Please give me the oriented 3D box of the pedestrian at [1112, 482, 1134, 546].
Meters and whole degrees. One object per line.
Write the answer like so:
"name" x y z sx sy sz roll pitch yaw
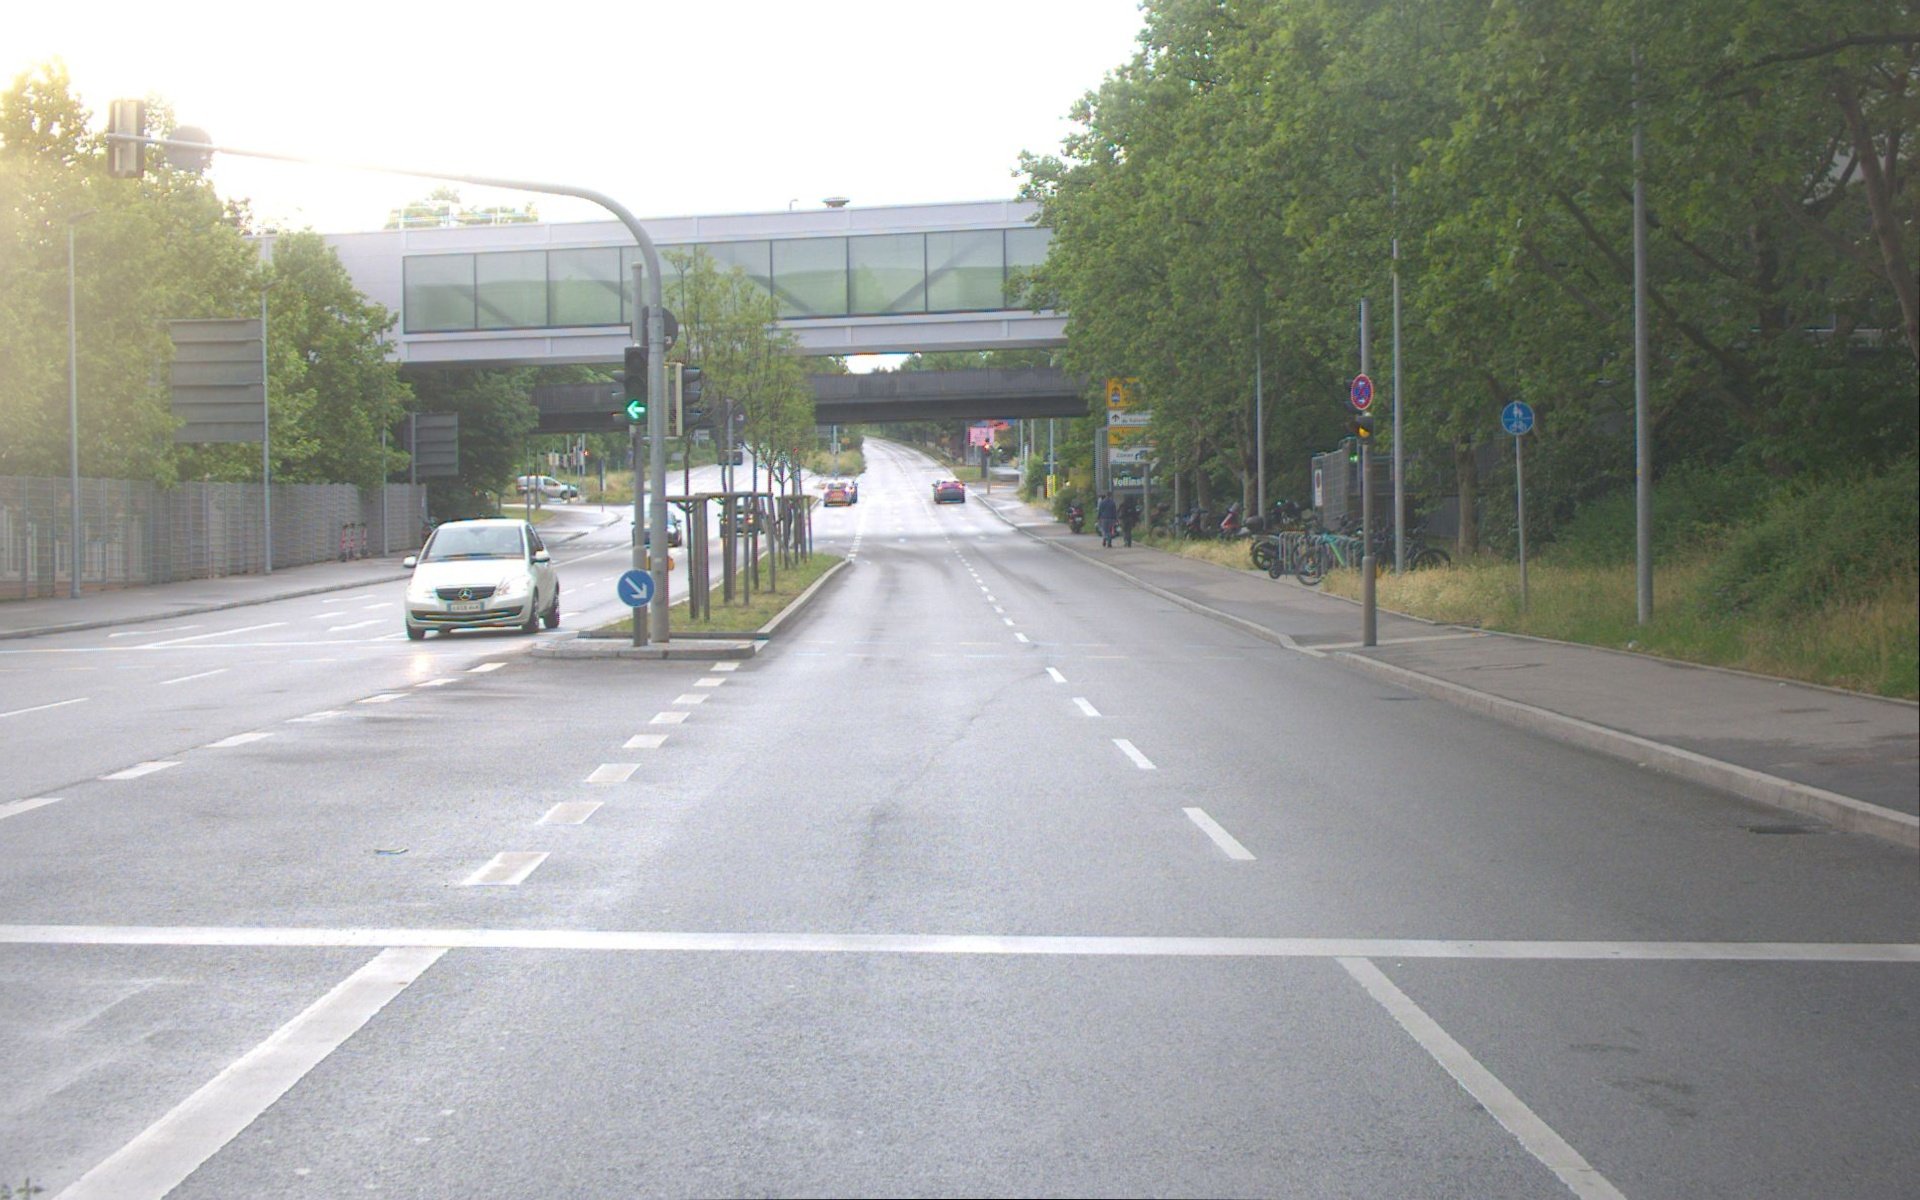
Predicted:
"pedestrian" 5.117 -2.694 107.878 0.622 2.007 0.605 -2 1 0

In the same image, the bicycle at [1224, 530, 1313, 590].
"bicycle" 7.065 -0.914 78.759 1.960 1.324 0.576 2 0 1

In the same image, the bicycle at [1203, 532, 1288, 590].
"bicycle" 6.866 -0.938 82.772 1.963 1.324 0.654 2 0 1

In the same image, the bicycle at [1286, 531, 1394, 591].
"bicycle" 7.281 -0.740 65.889 1.990 1.091 0.541 2 0 1

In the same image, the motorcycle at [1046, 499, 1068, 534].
"motorcycle" 4.301 -3.732 153.046 0.790 1.528 2.377 -2 1 -2

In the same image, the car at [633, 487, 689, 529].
"car" -11.887 -3.655 136.805 1.877 1.619 3.779 -1 1 0

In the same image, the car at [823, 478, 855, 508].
"car" -7.787 -6.888 221.581 1.884 1.756 3.969 1 0 0

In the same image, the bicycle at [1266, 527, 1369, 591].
"bicycle" 7.204 -0.821 69.241 1.990 1.237 0.541 2 0 1

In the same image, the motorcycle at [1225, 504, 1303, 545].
"motorcycle" 9.522 -2.361 107.487 2.369 1.198 0.722 -1 1 8

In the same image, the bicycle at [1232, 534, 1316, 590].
"bicycle" 7.655 -0.923 83.852 1.963 1.324 0.654 2 0 1

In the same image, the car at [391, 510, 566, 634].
"car" -6.656 -0.420 47.873 1.877 1.619 3.779 -1 1 0

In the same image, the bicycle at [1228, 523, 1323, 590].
"bicycle" 6.963 -0.954 75.957 1.990 1.425 0.723 2 0 1

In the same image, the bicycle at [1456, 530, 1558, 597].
"bicycle" 11.285 -0.754 70.974 1.990 1.324 0.576 2 0 1

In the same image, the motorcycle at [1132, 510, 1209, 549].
"motorcycle" 6.726 -2.254 109.932 2.369 1.198 0.722 -1 1 8

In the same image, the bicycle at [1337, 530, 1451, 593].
"bicycle" 7.927 -0.698 62.818 1.990 1.091 0.541 2 0 1

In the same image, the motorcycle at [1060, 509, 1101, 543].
"motorcycle" 4.697 -2.869 133.829 0.790 1.307 2.377 -2 1 -18

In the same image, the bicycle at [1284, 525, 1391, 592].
"bicycle" 7.297 -0.801 66.470 1.990 1.229 0.541 2 0 1

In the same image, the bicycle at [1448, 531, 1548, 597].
"bicycle" 11.304 -0.760 72.276 1.990 1.324 0.576 2 0 1

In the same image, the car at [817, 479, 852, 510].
"car" -7.844 -6.602 214.879 1.993 1.756 4.000 1 0 0

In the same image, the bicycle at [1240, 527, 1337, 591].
"bicycle" 7.025 -0.878 73.471 1.990 1.324 0.576 2 0 1

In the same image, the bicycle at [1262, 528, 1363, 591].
"bicycle" 7.196 -0.826 70.190 1.990 1.237 0.541 2 0 1

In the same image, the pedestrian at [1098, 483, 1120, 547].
"pedestrian" 4.702 -2.671 108.299 0.622 2.007 0.605 -2 1 0

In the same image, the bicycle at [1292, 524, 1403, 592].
"bicycle" 7.240 -0.784 64.282 1.990 1.212 0.541 2 0 1

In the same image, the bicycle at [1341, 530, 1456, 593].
"bicycle" 7.929 -0.695 62.249 1.990 1.091 0.541 2 0 1

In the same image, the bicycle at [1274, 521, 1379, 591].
"bicycle" 7.303 -0.882 68.548 1.990 1.336 0.541 2 0 1

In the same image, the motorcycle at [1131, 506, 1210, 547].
"motorcycle" 6.493 -2.277 106.054 2.369 1.198 0.722 -1 1 8

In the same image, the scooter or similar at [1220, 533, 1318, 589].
"scooter or similar" 6.491 -0.818 72.362 1.990 1.134 0.541 2 0 1

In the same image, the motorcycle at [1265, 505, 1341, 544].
"motorcycle" 10.933 -2.405 109.635 2.369 1.198 0.722 -1 1 8

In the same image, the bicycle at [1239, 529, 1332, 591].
"bicycle" 7.260 -0.899 76.809 1.990 1.324 0.576 2 0 1

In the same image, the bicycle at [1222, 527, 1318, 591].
"bicycle" 6.698 -0.890 74.282 1.990 1.324 0.576 2 0 1

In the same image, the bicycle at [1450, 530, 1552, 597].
"bicycle" 11.260 -0.757 71.599 1.990 1.324 0.576 2 0 1

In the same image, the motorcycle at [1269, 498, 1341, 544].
"motorcycle" 11.585 -2.665 115.401 2.369 1.471 0.722 -1 1 8

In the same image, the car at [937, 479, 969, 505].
"car" -0.436 -6.628 211.288 1.875 1.492 4.068 1 0 0
